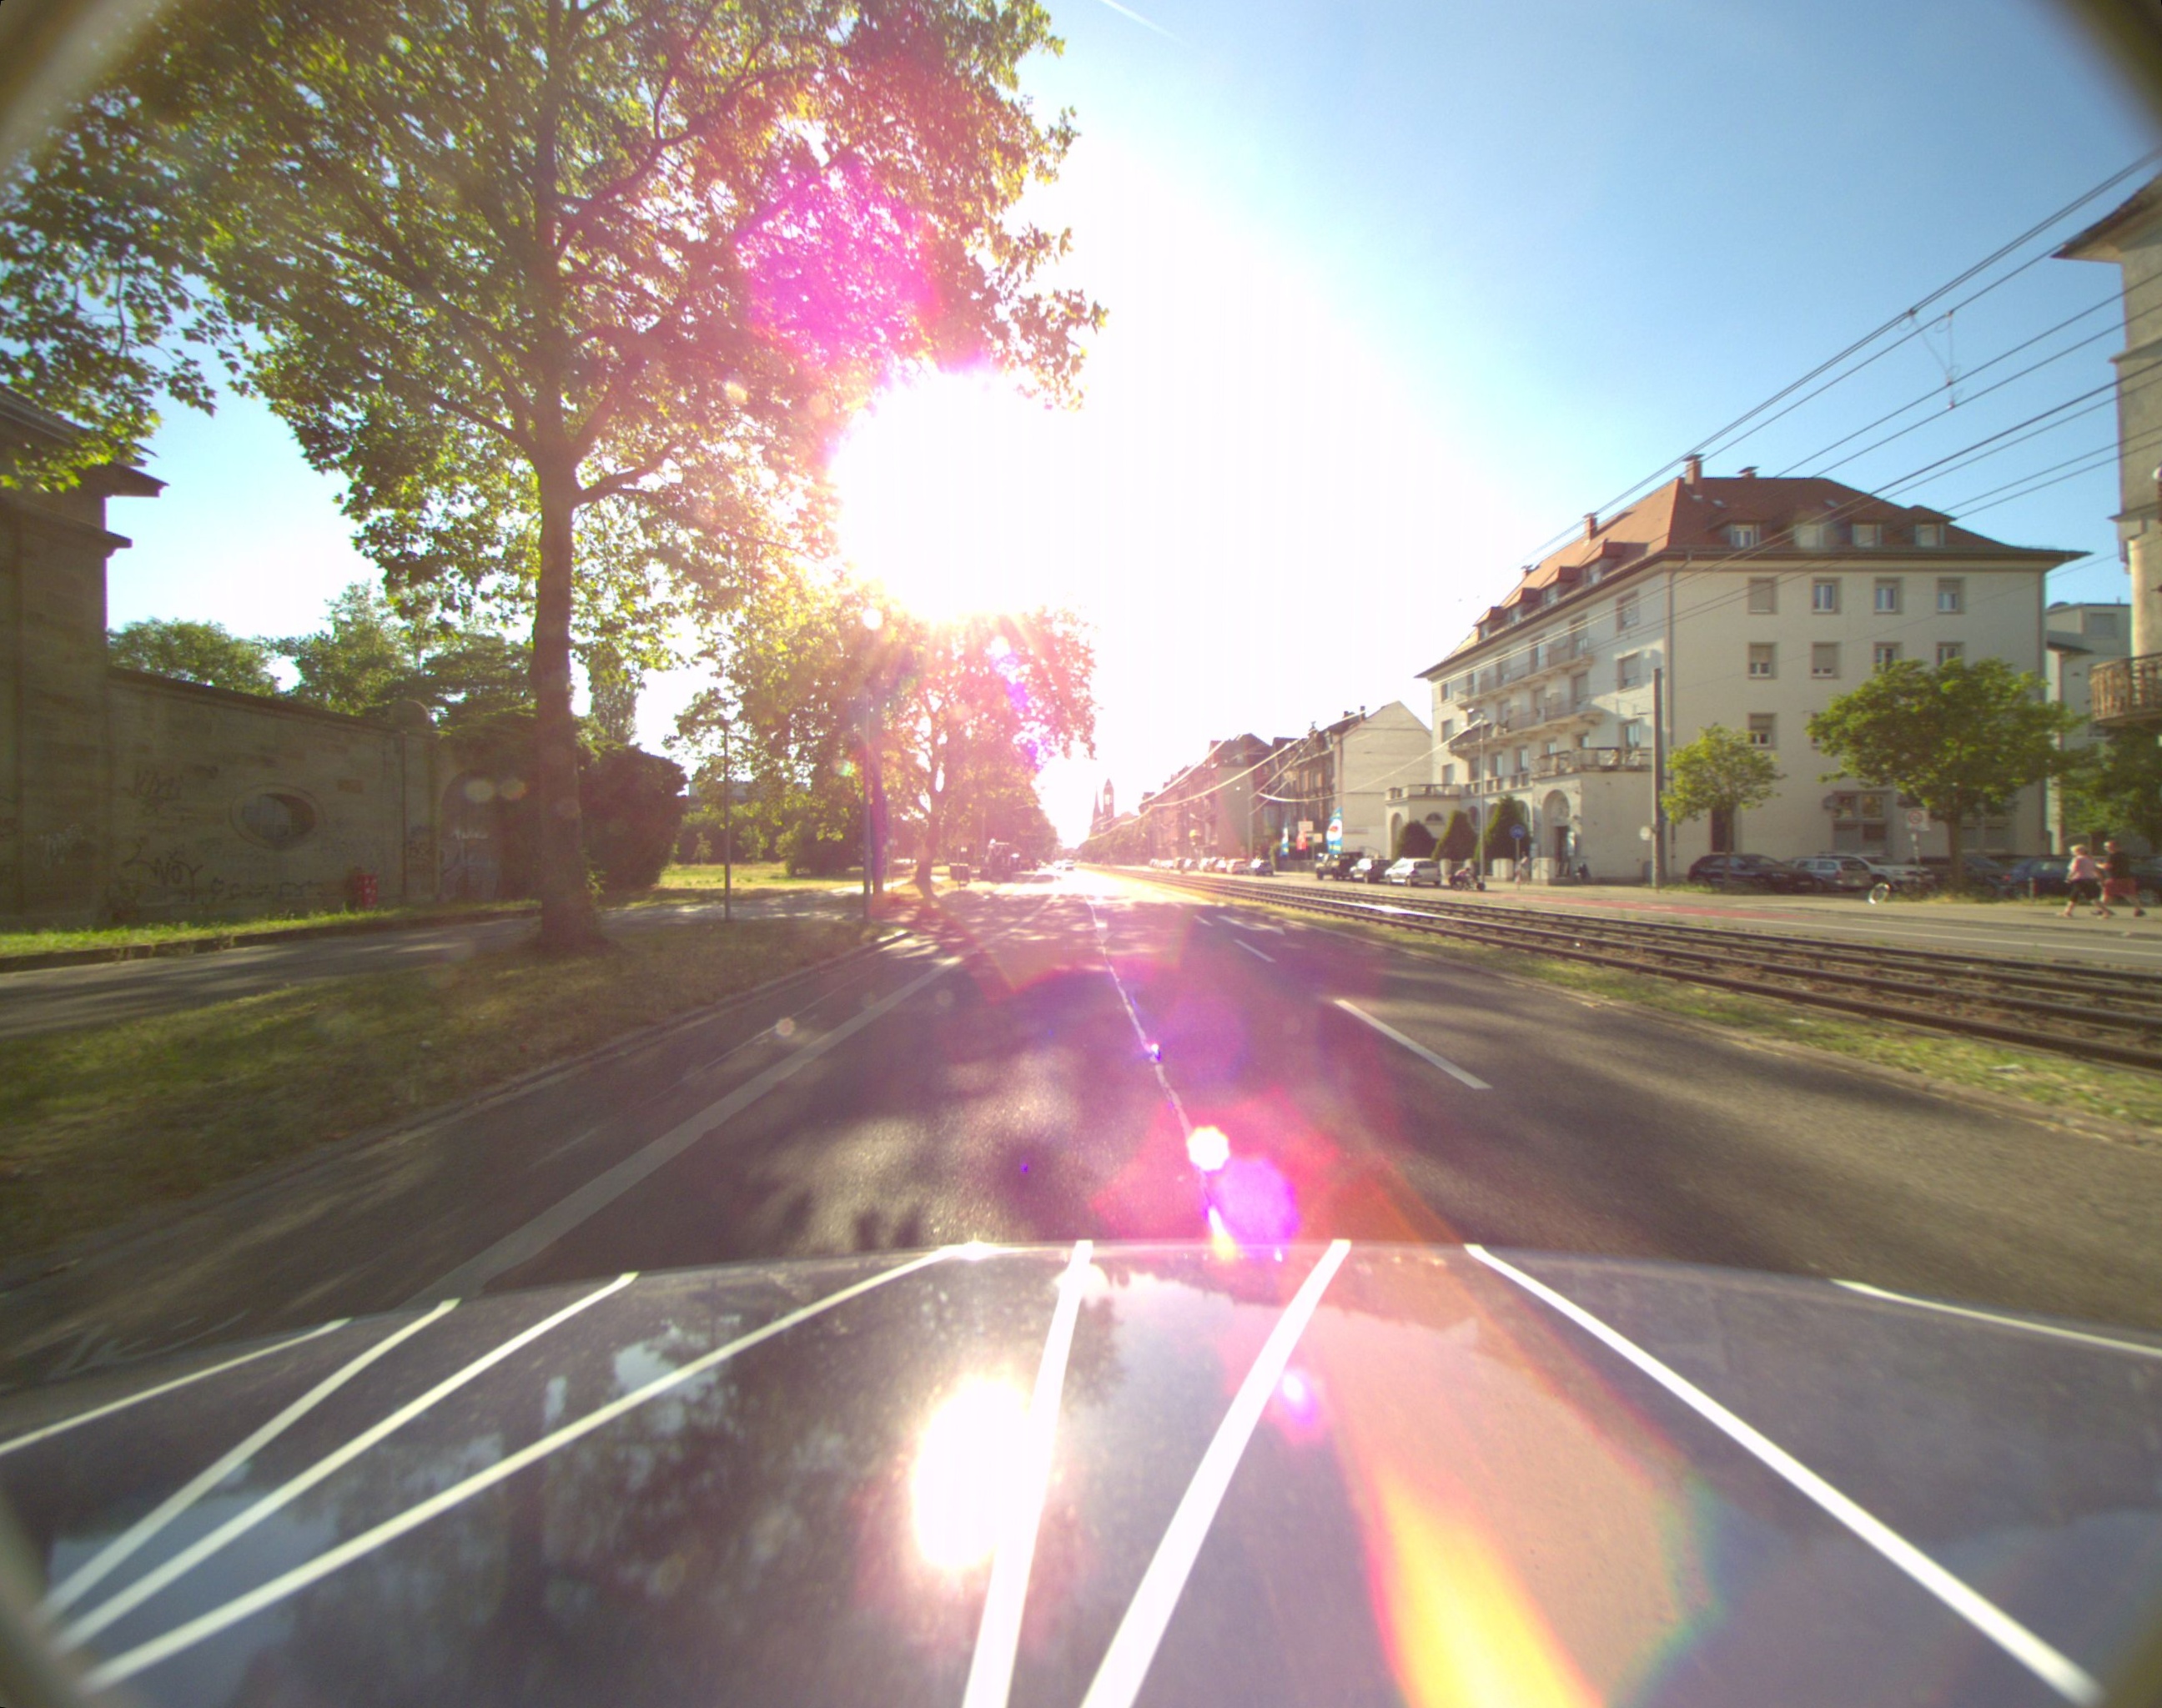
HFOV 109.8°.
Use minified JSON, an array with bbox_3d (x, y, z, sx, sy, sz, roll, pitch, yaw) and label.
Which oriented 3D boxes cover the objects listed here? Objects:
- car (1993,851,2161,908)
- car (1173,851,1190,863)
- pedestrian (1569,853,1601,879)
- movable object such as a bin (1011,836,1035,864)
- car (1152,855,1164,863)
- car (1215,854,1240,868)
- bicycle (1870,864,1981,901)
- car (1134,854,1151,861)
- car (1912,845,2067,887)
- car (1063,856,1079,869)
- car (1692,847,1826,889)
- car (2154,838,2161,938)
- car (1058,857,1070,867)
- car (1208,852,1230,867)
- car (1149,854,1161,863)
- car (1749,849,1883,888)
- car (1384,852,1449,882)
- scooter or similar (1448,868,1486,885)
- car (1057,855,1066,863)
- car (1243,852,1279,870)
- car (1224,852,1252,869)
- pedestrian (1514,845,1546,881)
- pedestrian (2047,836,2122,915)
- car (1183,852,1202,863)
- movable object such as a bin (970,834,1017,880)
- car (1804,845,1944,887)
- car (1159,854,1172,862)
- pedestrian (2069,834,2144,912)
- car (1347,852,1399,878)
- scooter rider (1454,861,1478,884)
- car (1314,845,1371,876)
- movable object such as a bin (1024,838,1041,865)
[{"bbox_3d":[29.684,0.683,21.759,1.778,1.456,4.241,-3,1,-9],"label":"car"},{"bbox_3d":[15.848,0.526,119.691,1.664,1.797,4.727,-2,0,-4],"label":"car"},{"bbox_3d":[24.556,0.587,37.036,0.879,1.180,0.894,-3,1,-10],"label":"pedestrian"},{"bbox_3d":[-8.902,-0.599,116.538,3.348,3.953,7.595,2,0,-4],"label":"movable object such as a bin"},{"bbox_3d":[14.778,0.951,145.909,1.664,1.437,3.764,-2,0,-2],"label":"car"},{"bbox_3d":[17.154,0.791,89.241,1.925,1.552,4.841,-2,1,0],"label":"car"},{"bbox_3d":[25.649,0.850,23.161,0.685,1.010,2.413,-3,0,0],"label":"bicycle"},{"bbox_3d":[15.744,0.827,194.395,3.992,1.502,1.802,-2,1,19],"label":"car"},{"bbox_3d":[39.033,0.458,32.815,1.799,1.649,3.998,0,1,-3],"label":"car"},{"bbox_3d":[-1.257,1.058,96.297,1.799,1.501,3.999,-3,0,-2],"label":"car"},{"bbox_3d":[28.872,0.531,32.581,1.799,1.631,4.260,0,1,-3],"label":"car"},{"bbox_3d":[20.100,0.537,11.326,1.867,1.776,4.400,-3,0,-3],"label":"car"},{"bbox_3d":[-2.705,1.197,120.195,1.799,1.501,3.999,-3,0,-2],"label":"car"},{"bbox_3d":[17.231,0.720,94.901,1.925,1.770,4.498,-2,0,0],"label":"car"},{"bbox_3d":[14.635,0.823,150.656,1.799,1.633,4.630,-2,0,0],"label":"car"},{"bbox_3d":[31.609,0.575,32.853,1.799,1.502,3.998,0,1,-3],"label":"car"},{"bbox_3d":[18.842,0.714,42.845,1.799,1.501,3.999,-3,1,-1],"label":"car"},{"bbox_3d":[18.314,1.052,36.074,1.565,0.766,0.809,0,0,29],"label":"scooter or similar"},{"bbox_3d":[-3.857,0.908,150.718,1.799,1.501,3.999,-3,0,-2],"label":"car"},{"bbox_3d":[17.522,0.690,74.087,1.926,1.452,4.840,-6,0,-4],"label":"car"},{"bbox_3d":[17.197,0.682,83.406,1.925,1.684,4.842,-2,0,0],"label":"car"},{"bbox_3d":[22.649,0.431,38.357,0.995,1.767,0.934,-3,1,-17],"label":"pedestrian"},{"bbox_3d":[22.180,0.457,16.799,0.591,1.687,0.856,-3,1,-21],"label":"pedestrian"},{"bbox_3d":[16.556,0.556,113.312,1.926,1.529,4.626,-2,0,-2],"label":"car"},{"bbox_3d":[-6.458,0.218,57.127,2.751,3.127,7.218,2,0,-1],"label":"movable object such as a bin"},{"bbox_3d":[34.255,0.463,32.992,1.799,1.649,3.998,0,1,-3],"label":"car"},{"bbox_3d":[15.147,0.721,136.052,1.664,1.437,3.980,-2,0,-2],"label":"car"},{"bbox_3d":[23.005,0.415,17.053,0.591,1.687,0.856,-3,1,-21],"label":"pedestrian"},{"bbox_3d":[18.552,0.654,48.406,1.639,1.498,4.158,-3,1,0],"label":"car"},{"bbox_3d":[18.275,0.877,36.091,0.976,1.082,0.809,0,0,29],"label":"scooter rider"},{"bbox_3d":[18.698,0.419,54.608,2.082,1.998,5.591,-3,0,0],"label":"car"},{"bbox_3d":[-8.741,-0.367,136.446,2.923,4.583,7.595,2,0,-4],"label":"movable object such as a bin"}]
